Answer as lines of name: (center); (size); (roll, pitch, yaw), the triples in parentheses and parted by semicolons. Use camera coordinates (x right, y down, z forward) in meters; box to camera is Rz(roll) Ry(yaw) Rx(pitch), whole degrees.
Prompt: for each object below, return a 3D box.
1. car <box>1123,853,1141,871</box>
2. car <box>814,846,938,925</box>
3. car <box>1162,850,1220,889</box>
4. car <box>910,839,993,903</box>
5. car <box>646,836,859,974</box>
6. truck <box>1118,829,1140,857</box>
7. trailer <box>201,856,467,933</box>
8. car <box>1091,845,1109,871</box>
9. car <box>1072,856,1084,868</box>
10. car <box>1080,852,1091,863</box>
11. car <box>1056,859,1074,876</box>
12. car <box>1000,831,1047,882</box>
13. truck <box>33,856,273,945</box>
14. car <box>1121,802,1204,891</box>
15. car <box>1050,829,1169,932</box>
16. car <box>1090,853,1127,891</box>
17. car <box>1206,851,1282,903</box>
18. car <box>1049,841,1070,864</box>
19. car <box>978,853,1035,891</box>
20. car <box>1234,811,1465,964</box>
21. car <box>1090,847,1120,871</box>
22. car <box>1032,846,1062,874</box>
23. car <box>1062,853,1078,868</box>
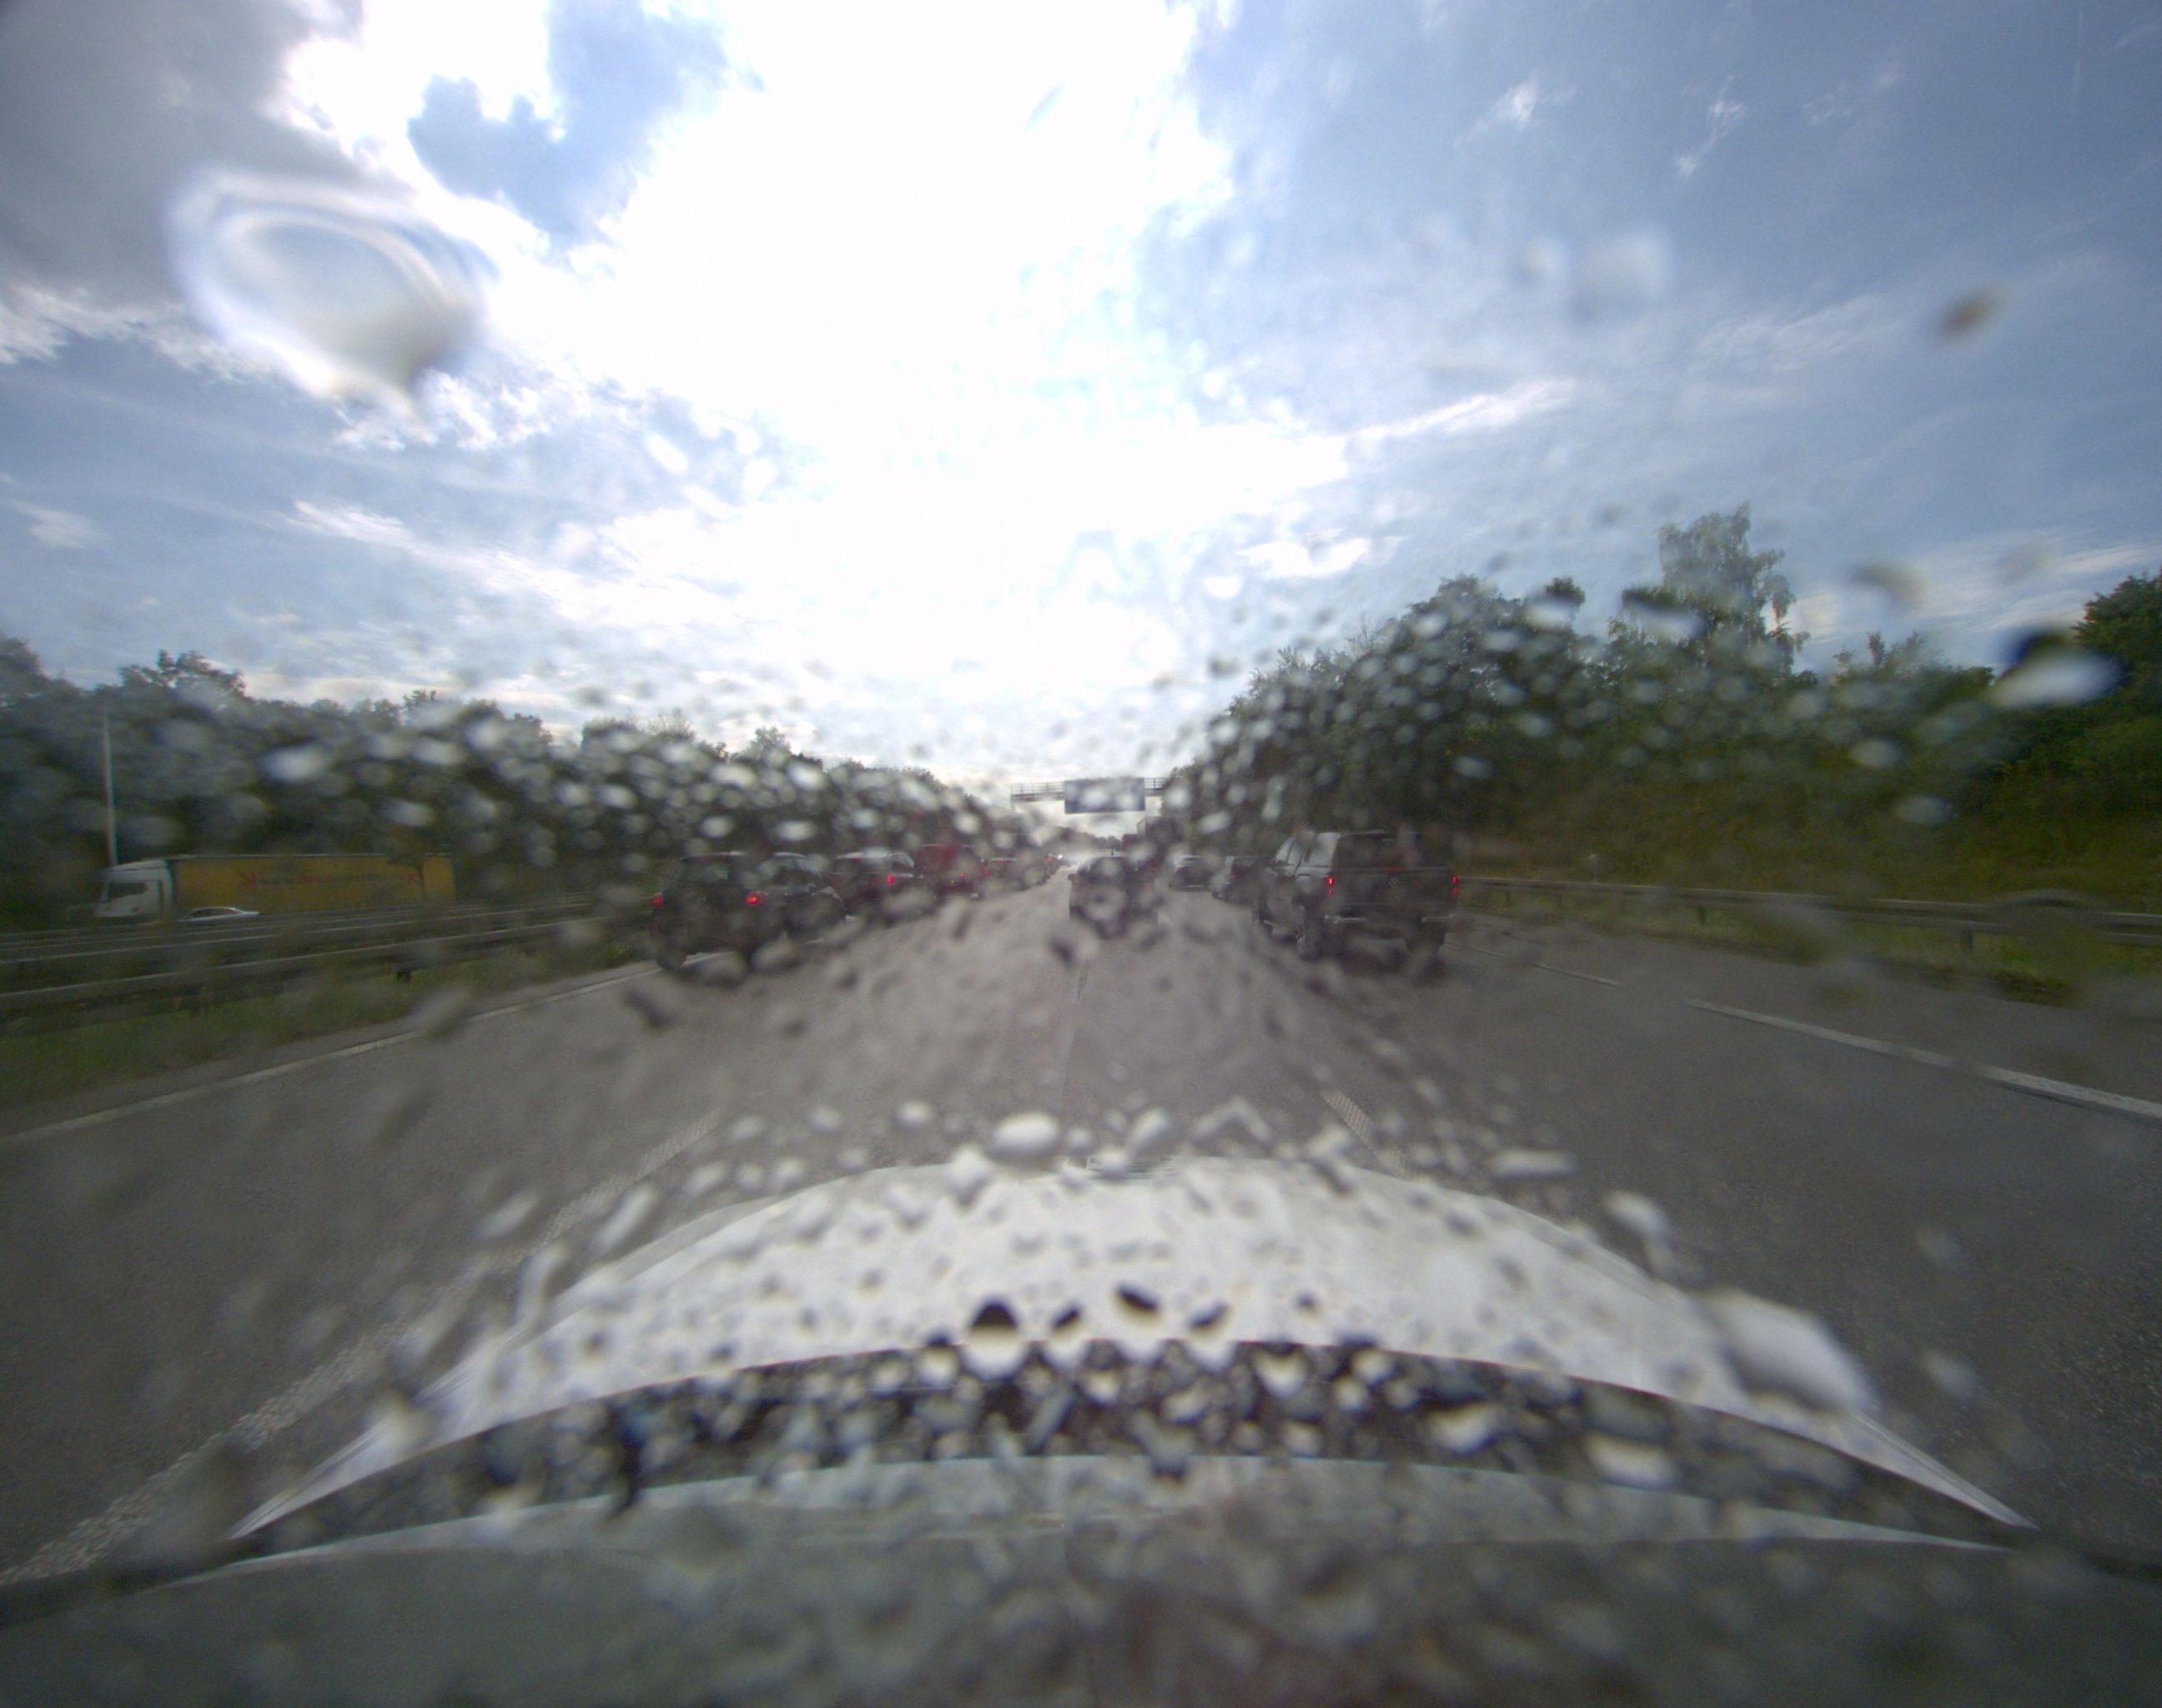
car: (6.099, 0.947, 97.871); (1.986, 2.115, 4.891); (-1, -1, 2)
car: (-4.894, 0.700, 20.138); (1.903, 1.636, 4.614); (-2, 0, -1)
car: (4.530, 0.623, 34.133); (1.859, 1.516, 3.974); (-1, -1, -1)
car: (-4.396, 0.563, 28.420); (1.971, 2.054, 4.758); (-1, -1, 2)
car: (-4.900, 0.693, 12.797); (1.687, 1.805, 3.976); (-1, -1, 0)
truck: (6.530, -1.451, 111.011); (2.765, 3.631, 5.919); (-1, -1, 2)
trailer: (-44.737, 2.230, 49.722); (3.760, 4.117, 11.771); (-1, -1, 15)
car: (2.170, 0.458, 92.505); (1.986, 2.746, 5.262); (-1, -1, 2)
car: (-0.487, 1.409, 142.480); (1.986, 2.115, 4.891); (-1, -1, 2)
car: (0.914, 0.731, 168.031); (1.986, 2.115, 4.891); (-1, -1, 2)
car: (-1.917, 1.647, 100.408); (1.986, 2.115, 4.891); (-1, -1, 2)
car: (-3.074, 0.130, 44.839); (1.986, 2.615, 5.262); (-1, -1, 2)
truck: (-46.913, 2.188, 41.540); (3.760, 4.117, 7.073); (-1, -1, 15)
car: (5.769, -0.420, 61.924); (4.391, 5.830, 16.811); (-1, -1, -1)
car: (0.556, 0.533, 18.035); (2.267, 1.954, 4.820); (-1, -1, 0)
car: (1.352, 0.887, 41.304); (1.687, 1.805, 3.975); (-1, -1, 0)
car: (5.073, 0.691, 25.835); (1.586, 1.516, 3.975); (-1, -1, 0)
car: (-2.275, -0.122, 87.284); (1.986, 2.385, 5.262); (-1, -1, 2)
car: (-3.286, 0.777, 36.927); (1.986, 1.564, 4.758); (-1, -1, 2)
car: (3.925, 0.442, 13.133); (1.935, 1.919, 5.652); (-1, -1, 1)
car: (1.553, 0.330, 54.043); (1.859, 1.516, 3.974); (-1, -1, -1)
car: (-2.623, 0.487, 64.787); (1.986, 2.115, 4.891); (-1, -1, 2)
car: (-1.529, 0.903, 117.175); (1.986, 2.115, 4.891); (-1, -1, 2)
